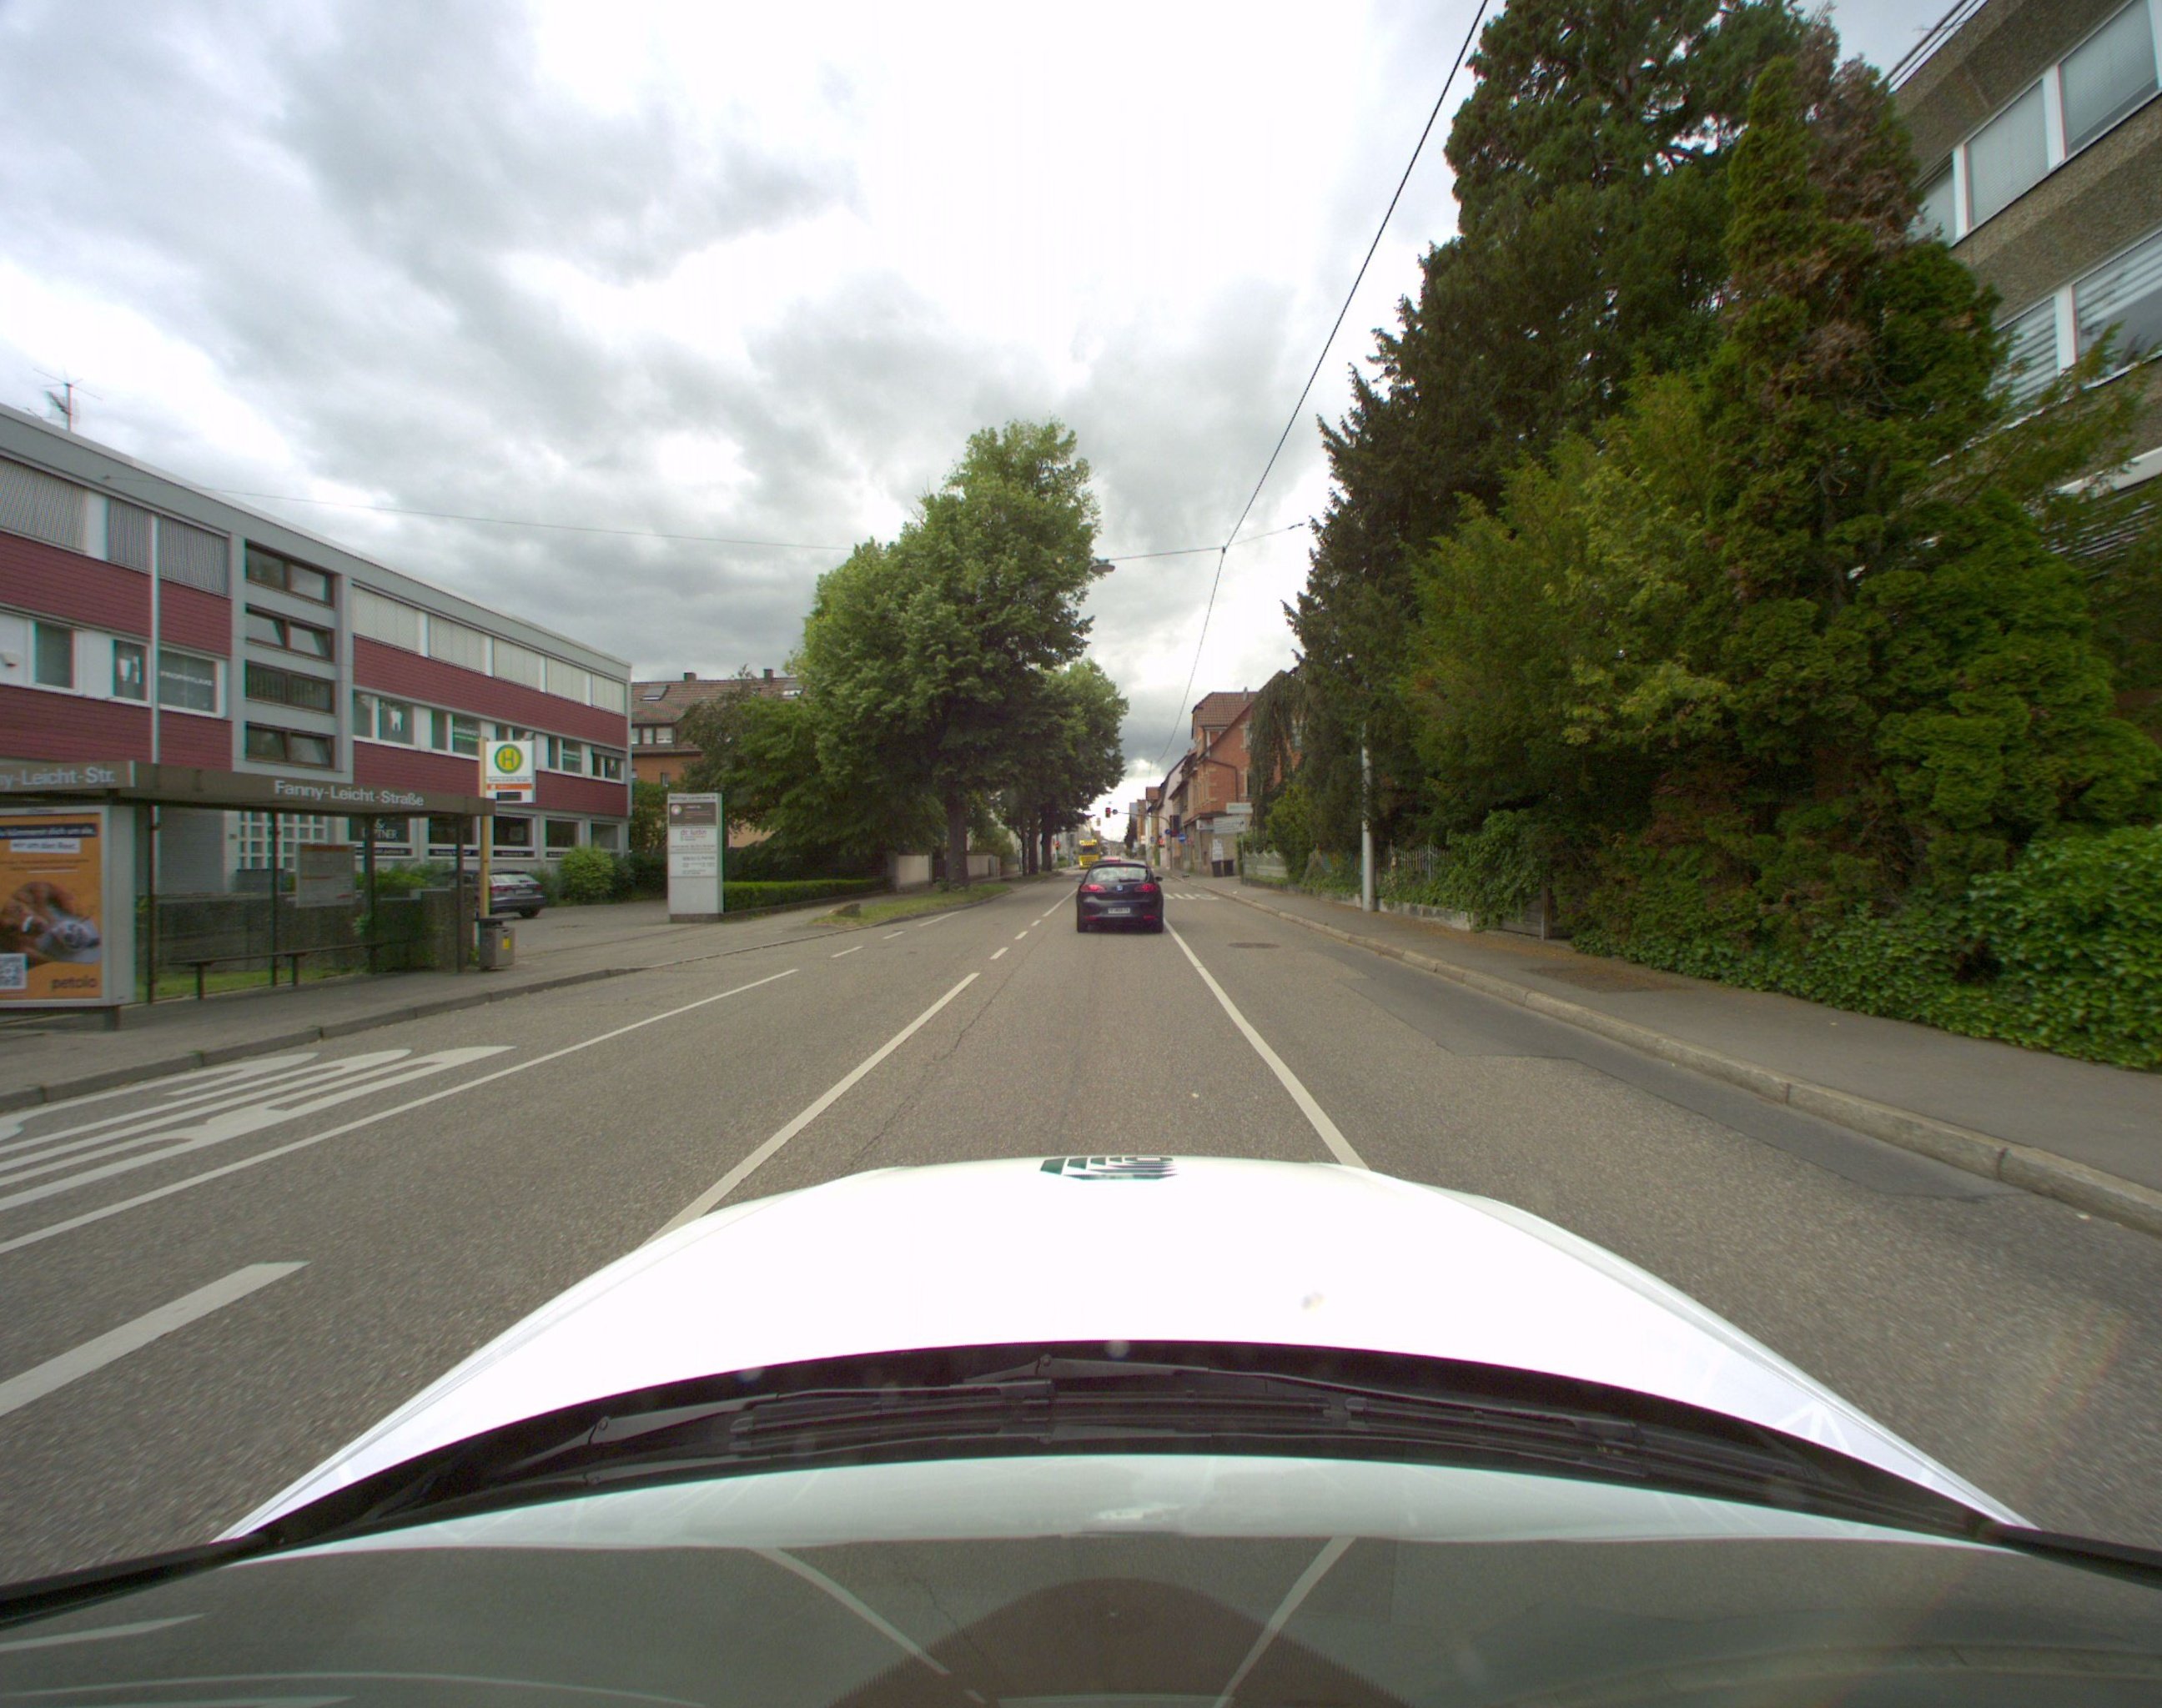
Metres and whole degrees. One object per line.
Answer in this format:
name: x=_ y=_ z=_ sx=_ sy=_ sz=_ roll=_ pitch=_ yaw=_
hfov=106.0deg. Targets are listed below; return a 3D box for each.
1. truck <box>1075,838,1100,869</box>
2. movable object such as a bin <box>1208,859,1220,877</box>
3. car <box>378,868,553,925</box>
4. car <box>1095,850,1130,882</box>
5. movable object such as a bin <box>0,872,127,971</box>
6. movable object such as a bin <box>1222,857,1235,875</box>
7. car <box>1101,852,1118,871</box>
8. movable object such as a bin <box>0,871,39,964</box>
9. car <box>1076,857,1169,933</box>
truck: x=0.886 y=-0.045 z=104.675 sx=2.832 sy=3.782 sz=7.674 roll=0 pitch=-1 yaw=3
movable object such as a bin: x=8.254 y=0.857 z=50.431 sx=0.604 sy=1.101 sz=0.623 roll=-3 pitch=-1 yaw=2
car: x=-17.250 y=1.153 z=22.877 sx=4.105 sy=1.479 sz=1.820 roll=0 pitch=-1 yaw=16
car: x=1.737 y=0.657 z=45.295 sx=1.835 sy=1.693 sz=4.002 roll=0 pitch=-1 yaw=2
movable object such as a bin: x=-16.070 y=1.012 z=12.663 sx=1.293 sy=1.465 sz=0.993 roll=0 pitch=-1 yaw=2
movable object such as a bin: x=9.133 y=0.745 z=50.447 sx=0.695 sy=1.059 sz=0.724 roll=-3 pitch=-1 yaw=2
car: x=2.595 y=0.710 z=74.563 sx=1.525 sy=1.693 sz=3.694 roll=0 pitch=-1 yaw=2
movable object such as a bin: x=-17.754 y=1.015 z=12.896 sx=1.356 sy=1.465 sz=0.885 roll=0 pitch=-1 yaw=2
car: x=0.874 y=0.794 z=17.408 sx=1.752 sy=1.442 sz=4.002 roll=0 pitch=-1 yaw=2
